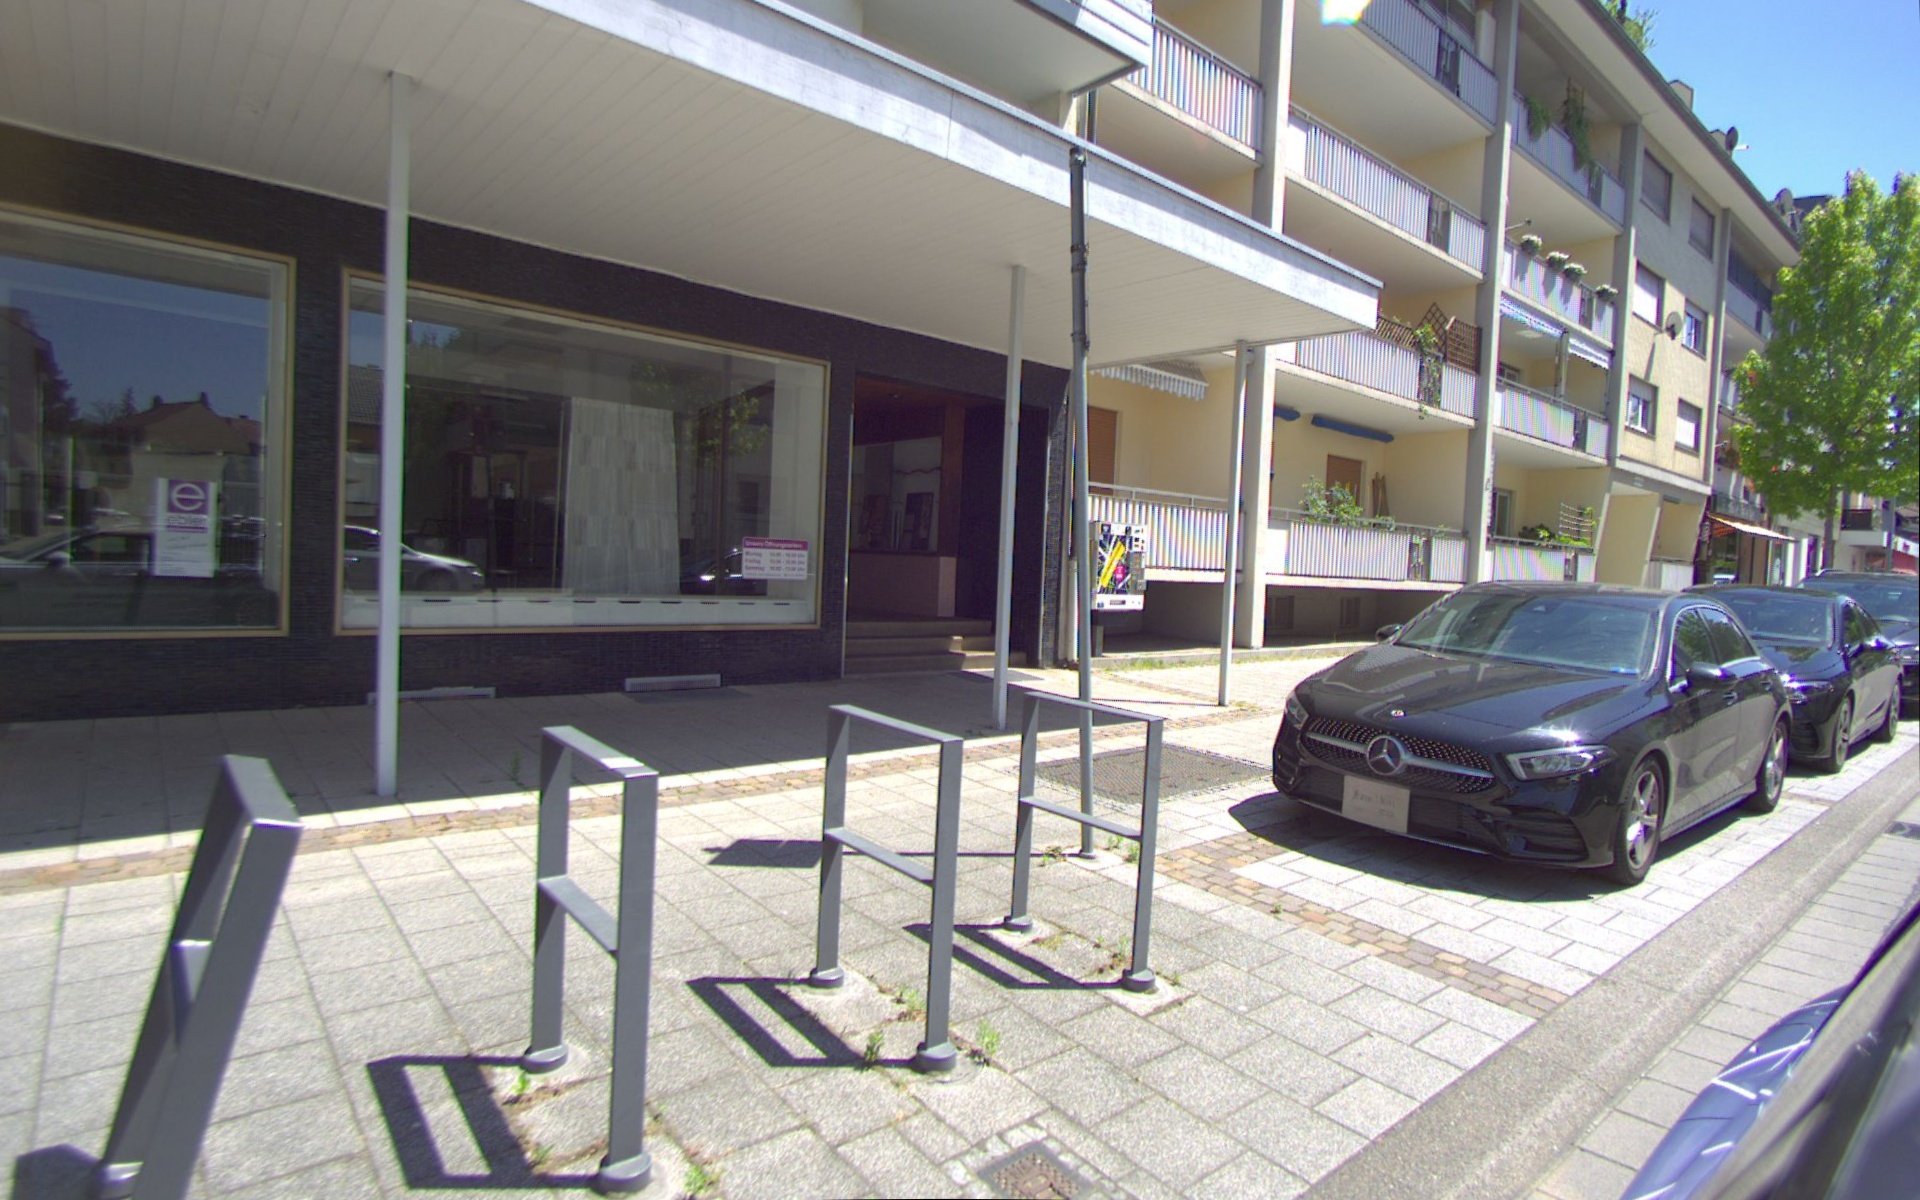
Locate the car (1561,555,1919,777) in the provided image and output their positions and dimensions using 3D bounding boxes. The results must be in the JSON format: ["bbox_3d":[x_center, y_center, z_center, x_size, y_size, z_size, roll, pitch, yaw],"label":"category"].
[{"bbox_3d":[7.625,0.423,9.581,4.488,1.548,1.899,-1,5,-40],"label":"car"}]

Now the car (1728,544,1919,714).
[{"bbox_3d":[11.956,0.312,13.174,4.486,1.820,2.000,1,4,-39],"label":"car"}]

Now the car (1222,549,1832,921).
[{"bbox_3d":[3.602,0.491,6.117,4.089,1.431,1.850,-1,5,-40],"label":"car"}]
